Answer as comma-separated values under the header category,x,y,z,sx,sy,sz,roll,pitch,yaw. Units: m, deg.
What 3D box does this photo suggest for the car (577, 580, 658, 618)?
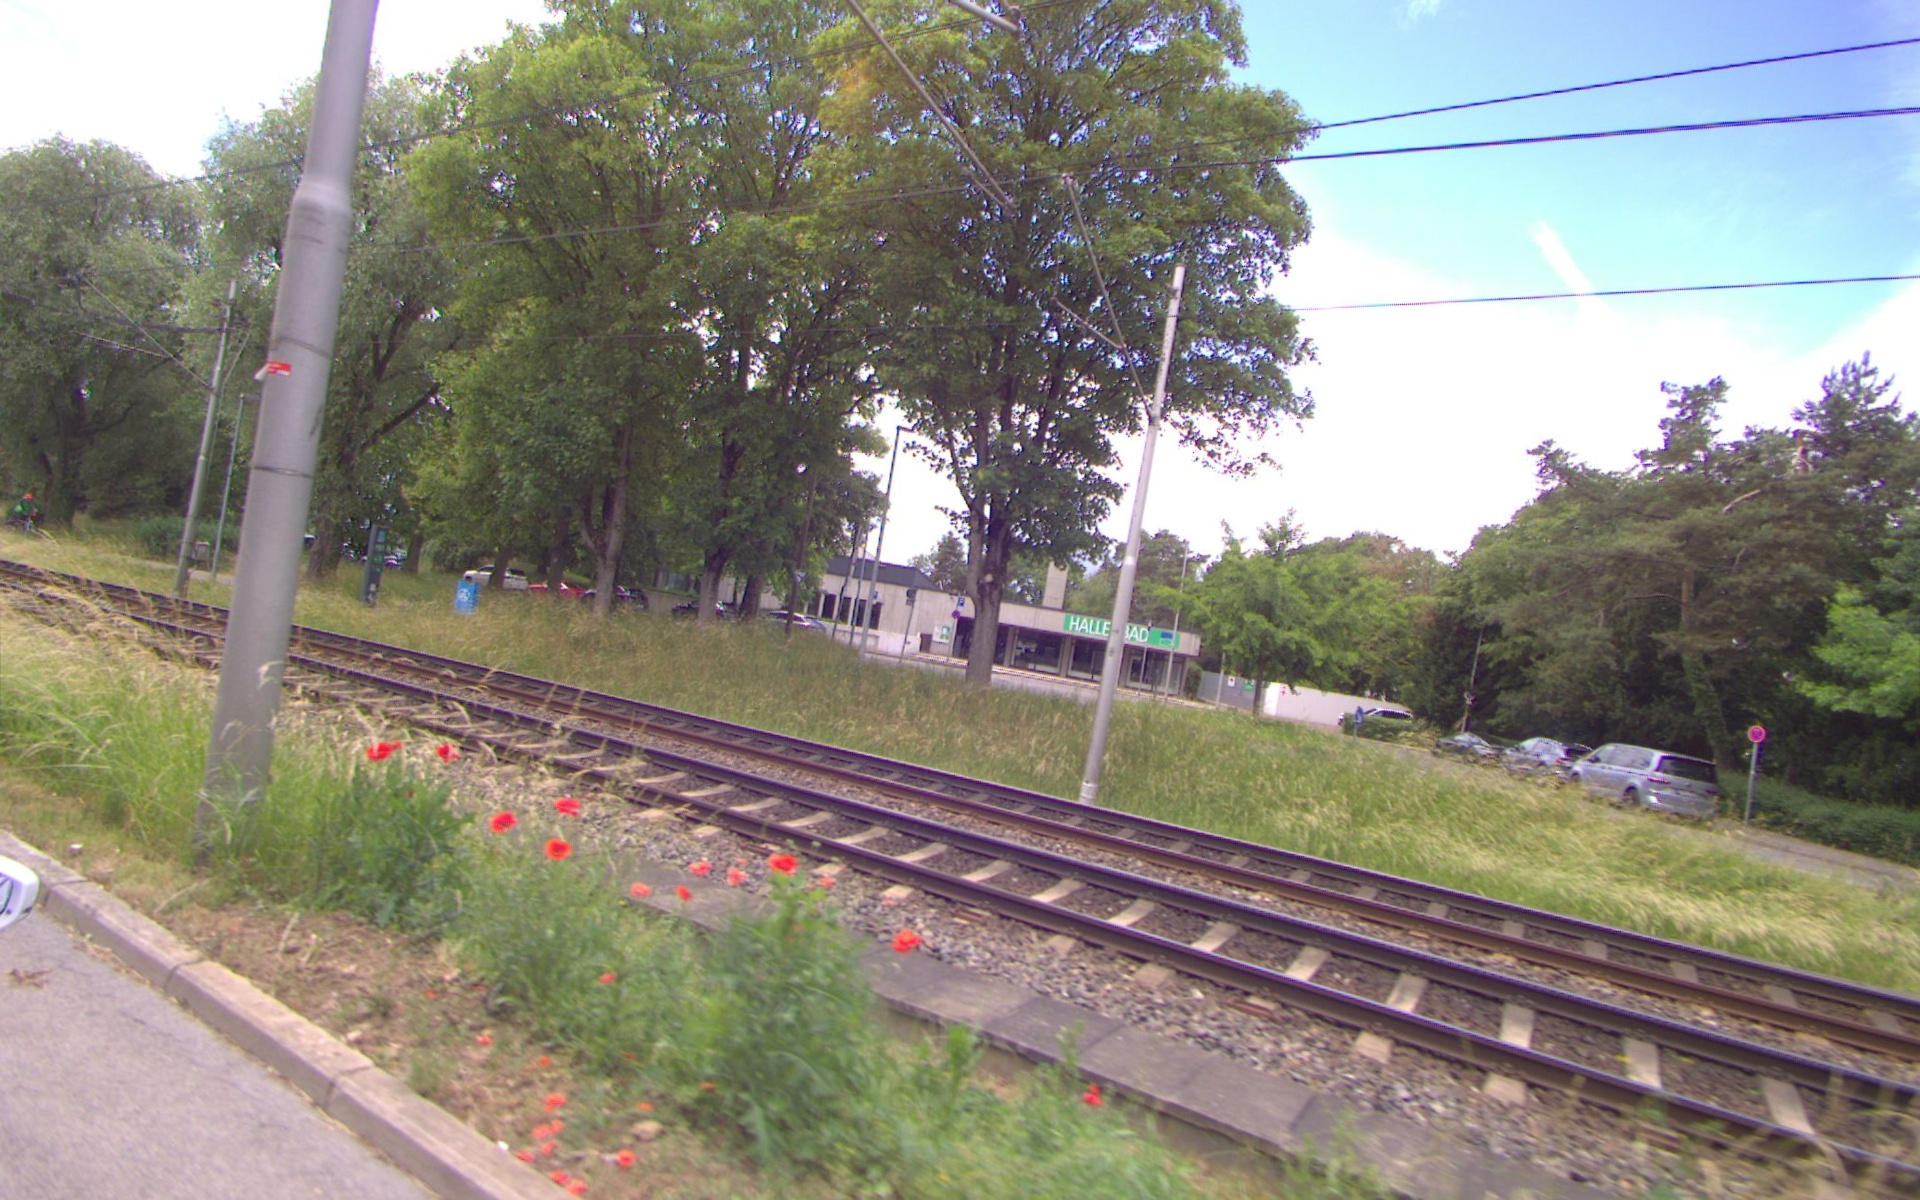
category,x,y,z,sx,sy,sz,roll,pitch,yaw
car,-19.178,-0.042,56.312,3.930,1.458,2.000,7,-3,28

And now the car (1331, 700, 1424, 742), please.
category,x,y,z,sx,sy,sz,roll,pitch,yaw
car,23.563,6.827,56.963,4.379,1.599,1.982,8,-2,11

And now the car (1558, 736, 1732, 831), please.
category,x,y,z,sx,sy,sz,roll,pitch,yaw
car,19.688,5.211,29.206,1.882,1.881,4.720,8,-2,5

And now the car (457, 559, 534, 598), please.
category,x,y,z,sx,sy,sz,roll,pitch,yaw
car,-28.311,-1.315,61.345,4.156,1.718,2.001,7,-3,28

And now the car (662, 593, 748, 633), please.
category,x,y,z,sx,sy,sz,roll,pitch,yaw
car,-13.542,0.699,53.393,3.930,1.458,2.000,7,-3,28

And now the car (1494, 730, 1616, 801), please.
category,x,y,z,sx,sy,sz,roll,pitch,yaw
car,20.280,5.600,34.497,1.738,1.697,4.202,9,-2,5

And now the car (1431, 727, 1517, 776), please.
category,x,y,z,sx,sy,sz,roll,pitch,yaw
car,20.429,6.006,40.129,1.642,1.348,3.530,9,-2,5

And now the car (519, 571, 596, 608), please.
category,x,y,z,sx,sy,sz,roll,pitch,yaw
car,-23.478,-0.617,58.694,3.930,1.458,2.000,7,-3,28

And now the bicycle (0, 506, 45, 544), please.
category,x,y,z,sx,sy,sz,roll,pitch,yaw
bicycle,-37.665,-3.008,40.379,1.894,1.260,0.583,8,-1,24

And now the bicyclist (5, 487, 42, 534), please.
category,x,y,z,sx,sy,sz,roll,pitch,yaw
bicyclist,-37.625,-3.589,40.401,0.919,1.715,0.583,8,-2,24

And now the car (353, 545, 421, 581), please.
category,x,y,z,sx,sy,sz,roll,pitch,yaw
car,-37.821,-2.455,66.431,3.932,1.718,2.000,7,-3,30

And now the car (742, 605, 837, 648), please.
category,x,y,z,sx,sy,sz,roll,pitch,yaw
car,-8.637,1.341,50.818,4.270,1.458,2.000,7,-3,28
